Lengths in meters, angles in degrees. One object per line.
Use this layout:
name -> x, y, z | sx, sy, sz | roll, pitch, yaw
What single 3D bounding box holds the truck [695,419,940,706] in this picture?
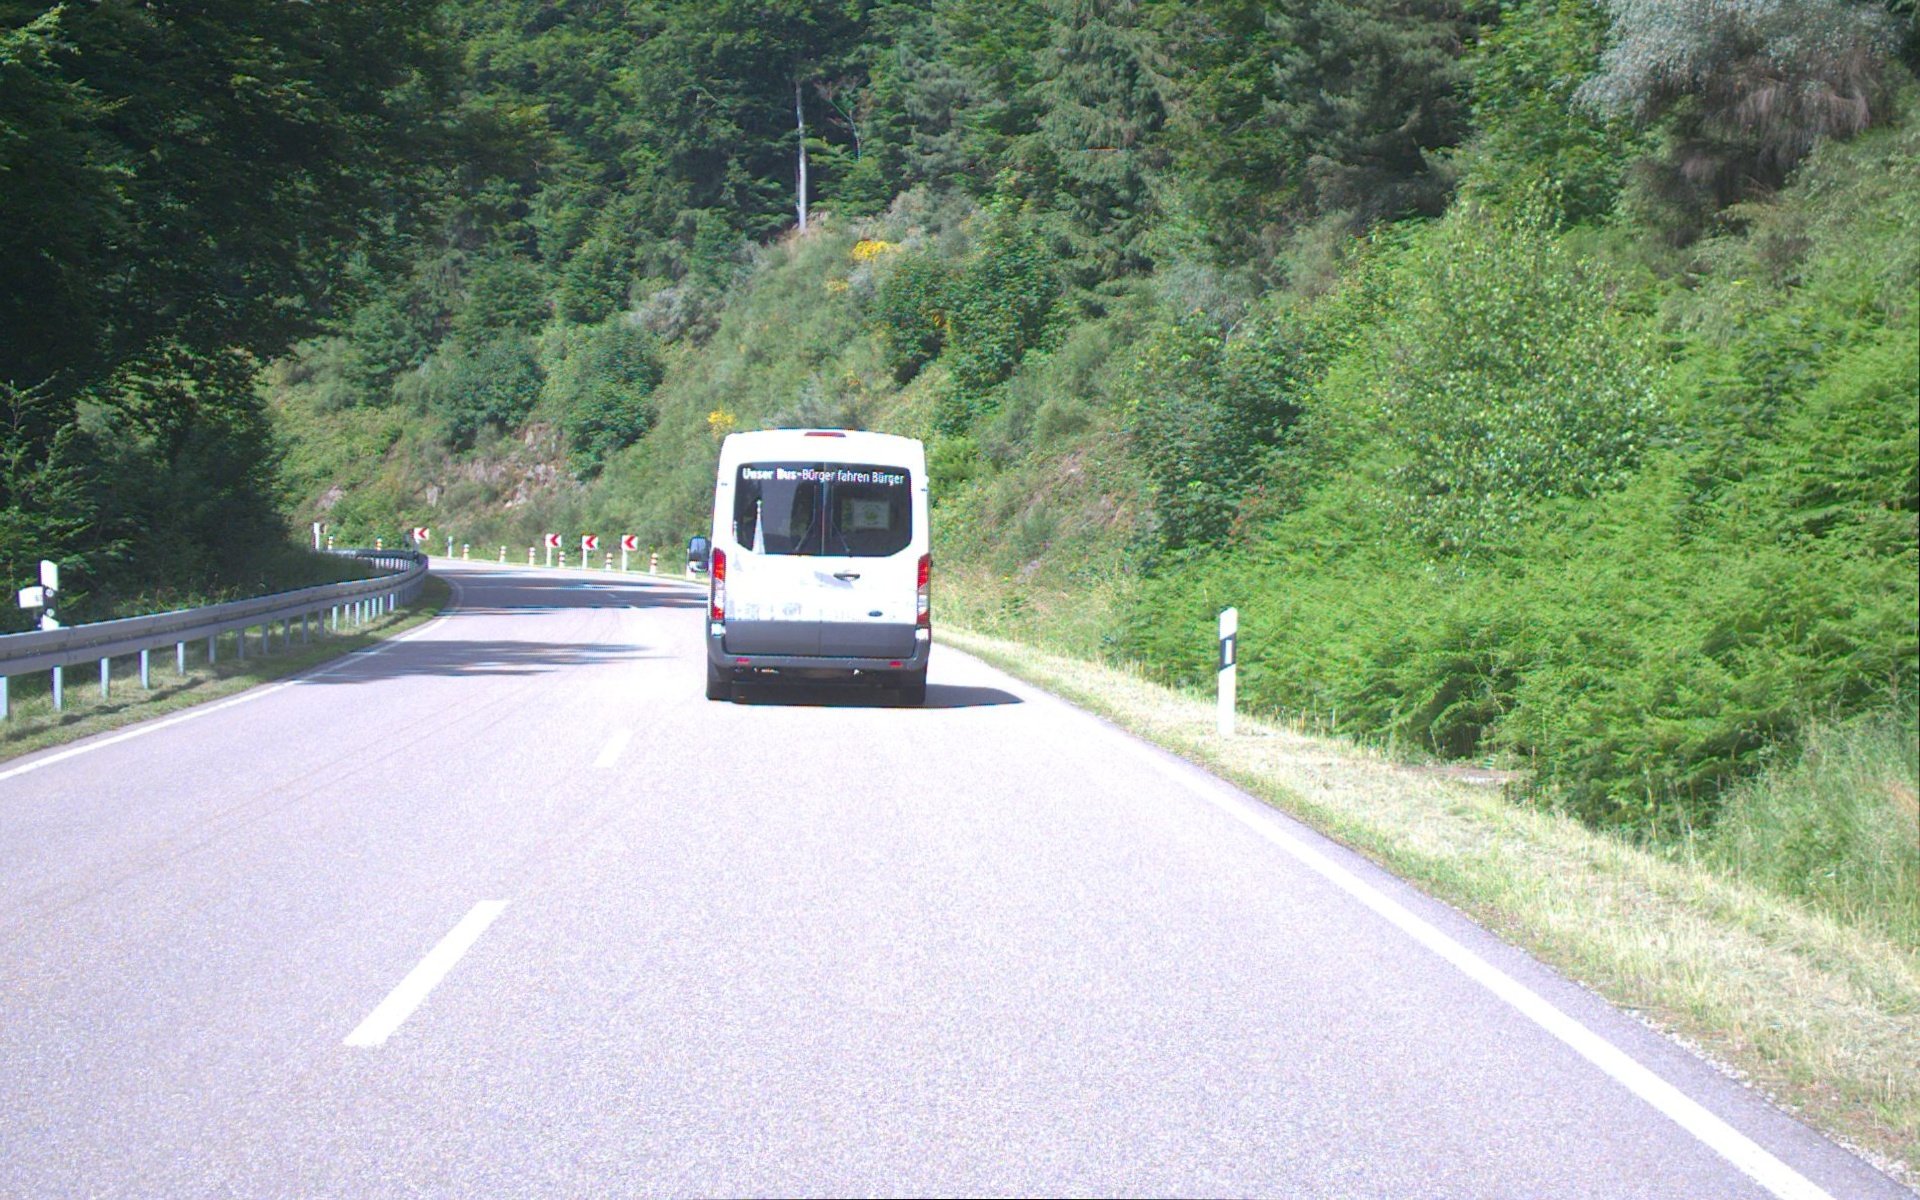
truck -> -1.398, -0.377, 32.440 | 2.083, 2.451, 4.876 | 1, 1, -4
